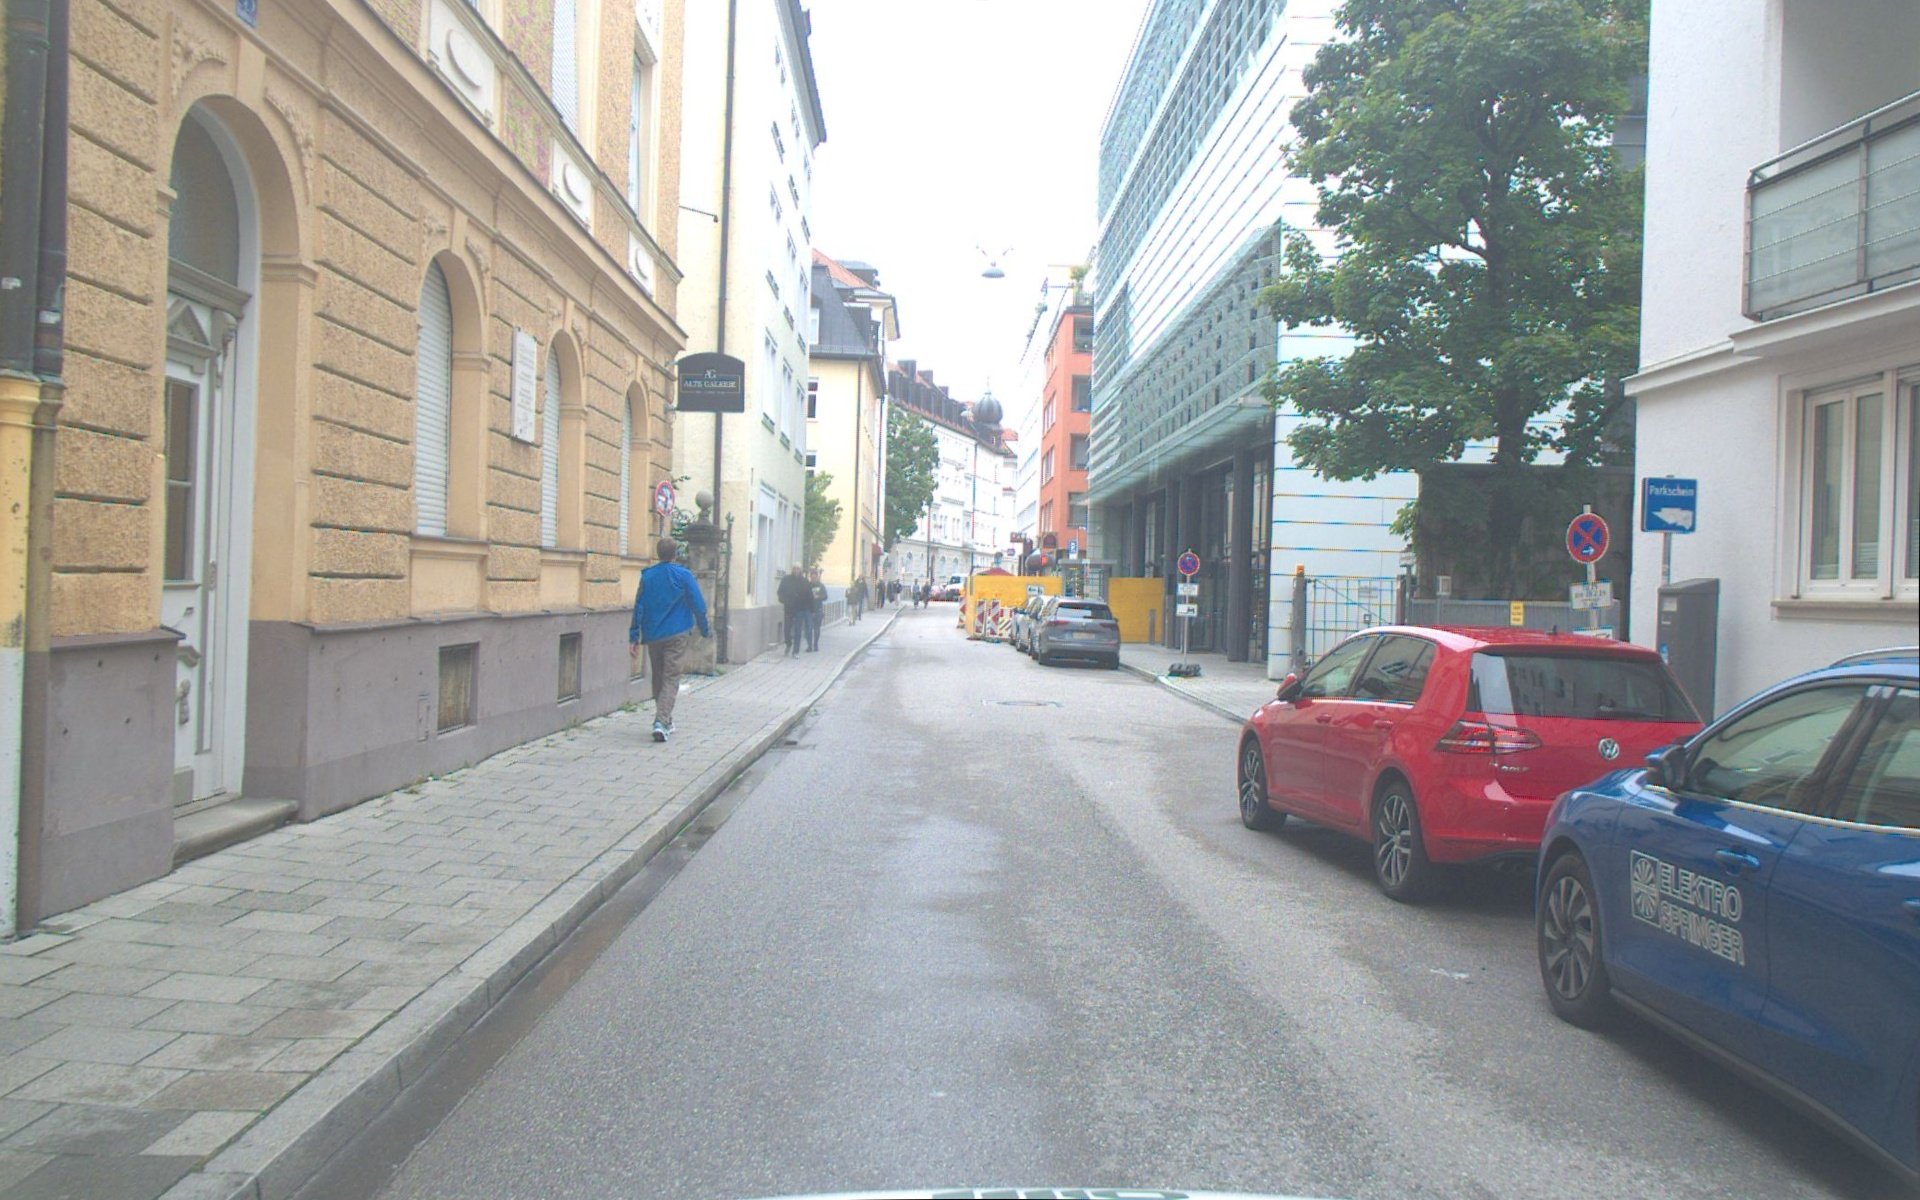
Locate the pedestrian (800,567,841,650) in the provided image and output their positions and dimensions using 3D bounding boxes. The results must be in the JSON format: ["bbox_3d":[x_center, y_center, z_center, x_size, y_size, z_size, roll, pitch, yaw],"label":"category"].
[{"bbox_3d":[-2.968,0.179,35.209,0.698,1.694,0.929,4,0,-2],"label":"pedestrian"}]

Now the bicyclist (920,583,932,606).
[{"bbox_3d":[-2.177,-0.354,105.574,0.693,1.395,0.813,1,0,-2],"label":"bicyclist"}]

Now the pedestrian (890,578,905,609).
[{"bbox_3d":[-3.603,-0.359,95.478,0.822,1.730,0.802,2,0,-2],"label":"pedestrian"}]

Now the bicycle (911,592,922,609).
[{"bbox_3d":[-2.713,0.027,102.112,0.648,1.057,2.004,1,0,-2],"label":"bicycle"}]

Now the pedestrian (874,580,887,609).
[{"bbox_3d":[-4.613,-0.322,95.705,0.657,1.677,0.761,2,0,-2],"label":"pedestrian"}]

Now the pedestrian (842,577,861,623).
[{"bbox_3d":[-4.087,0.008,62.453,0.634,1.705,0.723,2,0,-2],"label":"pedestrian"}]

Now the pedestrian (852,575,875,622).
[{"bbox_3d":[-4.000,-0.068,68.643,0.850,1.914,1.134,2,0,-2],"label":"pedestrian"}]

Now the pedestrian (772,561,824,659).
[{"bbox_3d":[-3.147,0.187,32.214,0.887,1.859,0.955,2,0,-2],"label":"pedestrian"}]

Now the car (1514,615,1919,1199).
[{"bbox_3d":[3.192,0.847,4.649,1.758,1.463,4.383,3,0,0],"label":"car"}]

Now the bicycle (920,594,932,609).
[{"bbox_3d":[-2.182,0.117,105.523,0.693,0.921,1.809,1,0,-2],"label":"bicycle"}]

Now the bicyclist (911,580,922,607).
[{"bbox_3d":[-2.704,-0.412,102.062,0.646,1.671,0.895,1,0,-2],"label":"bicyclist"}]

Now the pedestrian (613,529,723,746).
[{"bbox_3d":[-2.669,0.328,15.200,0.741,1.887,1.076,3,0,-1],"label":"pedestrian"}]

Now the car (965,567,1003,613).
[{"bbox_3d":[1.425,-0.594,98.834,1.953,2.581,4.973,2,0,-2],"label":"car"}]

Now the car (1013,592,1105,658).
[{"bbox_3d":[2.436,0.586,41.570,1.674,1.493,4.233,3,0,-5],"label":"car"}]

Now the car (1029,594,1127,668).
[{"bbox_3d":[2.531,0.637,36.278,1.673,1.457,4.328,2,0,-2],"label":"car"}]

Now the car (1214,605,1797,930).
[{"bbox_3d":[3.028,0.840,10.256,1.727,1.472,4.292,3,0,-7],"label":"car"}]

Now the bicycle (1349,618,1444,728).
[{"bbox_3d":[5.609,0.911,21.348,0.693,1.219,1.834,1,3,0],"label":"bicycle"}]
